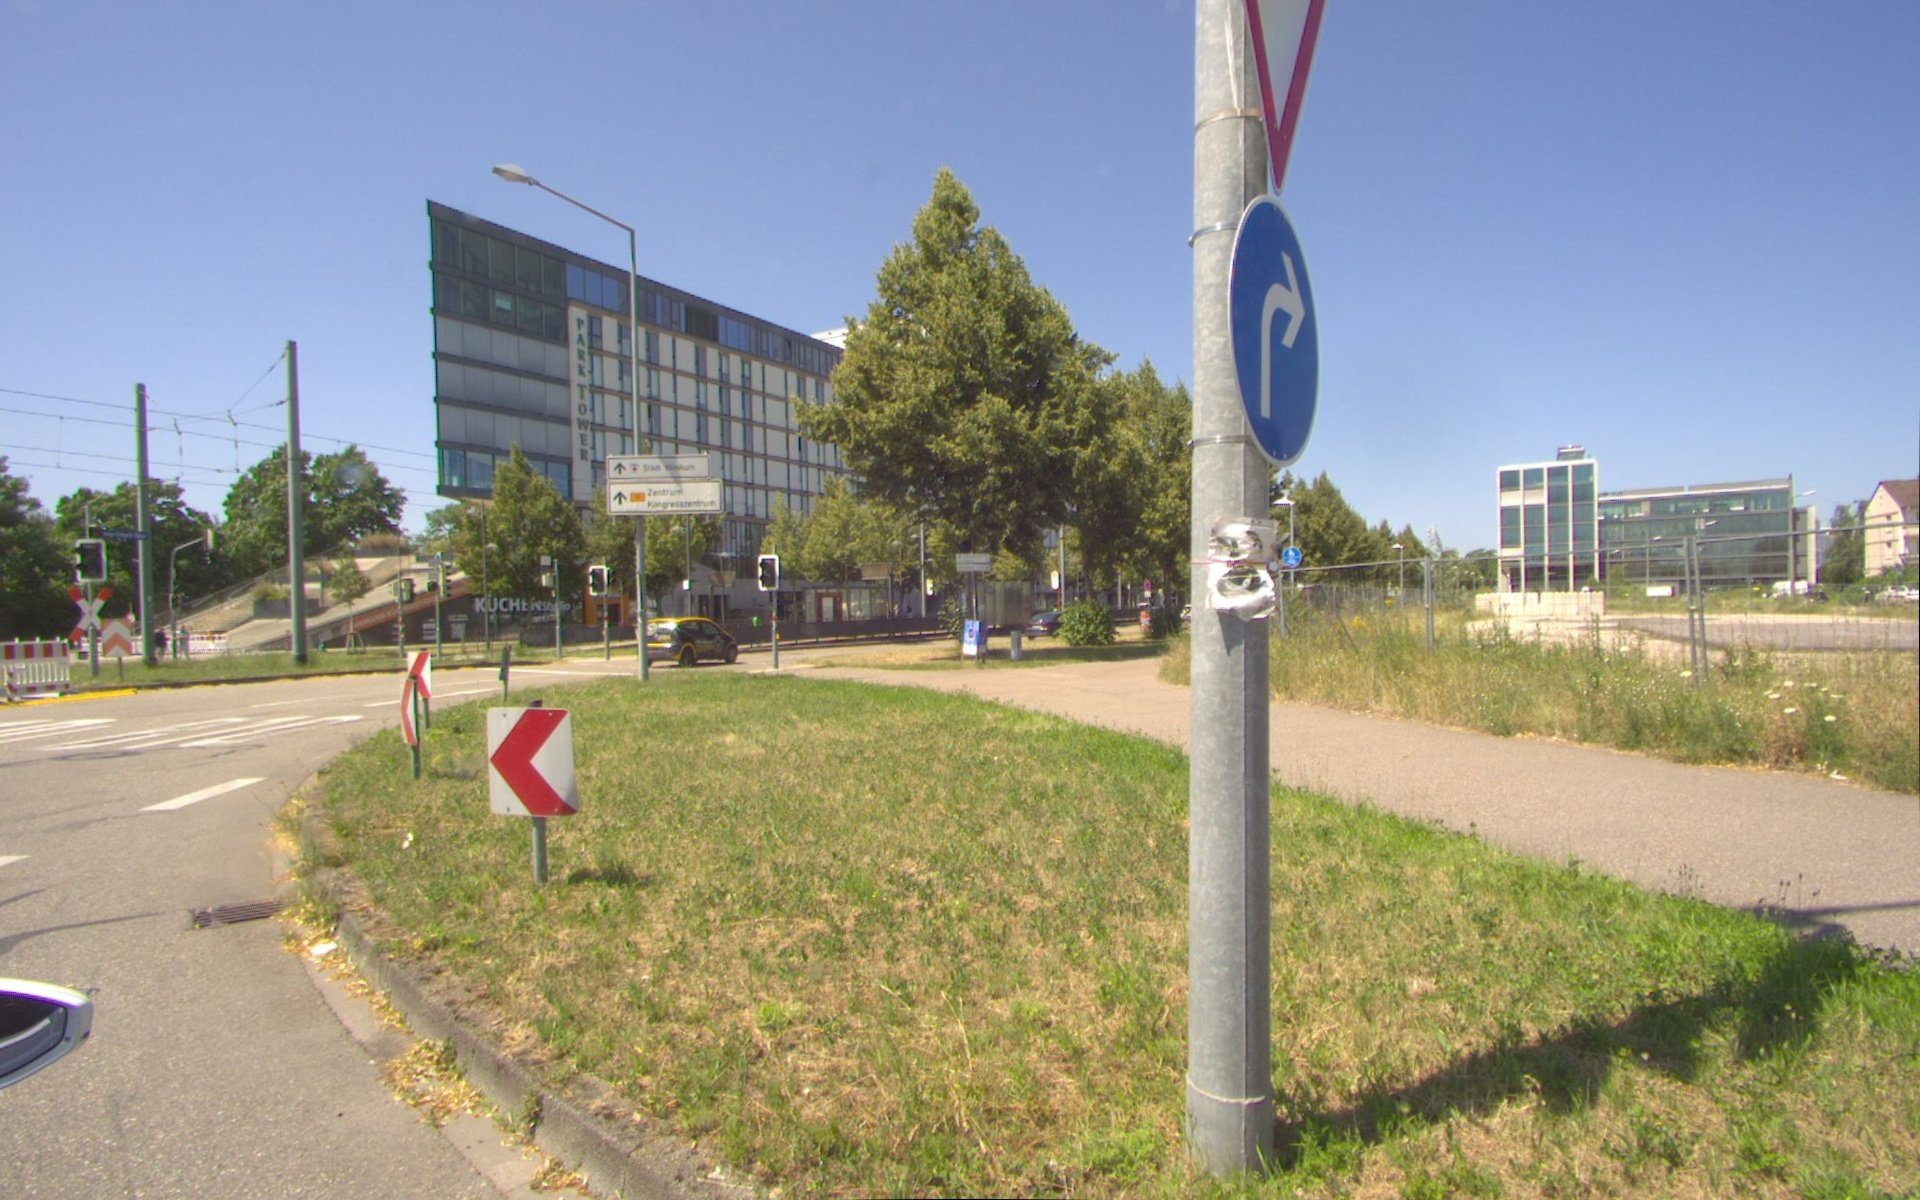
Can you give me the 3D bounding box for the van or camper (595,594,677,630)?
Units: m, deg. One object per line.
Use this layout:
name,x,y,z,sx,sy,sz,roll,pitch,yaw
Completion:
van or camper,-26.812,0.960,83.203,2.346,2.859,6.761,-1,-1,27

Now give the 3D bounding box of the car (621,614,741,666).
car,-8.417,1.186,30.560,1.595,1.470,3.981,-1,-1,18

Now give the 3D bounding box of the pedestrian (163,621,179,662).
pedestrian,-34.118,1.806,43.277,0.287,1.762,0.447,-1,0,29

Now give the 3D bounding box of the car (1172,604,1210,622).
car,19.456,1.105,84.192,1.829,1.467,4.331,-1,-2,31

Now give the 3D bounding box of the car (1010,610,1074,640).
car,4.350,1.290,52.396,1.967,1.467,4.637,-1,-1,24

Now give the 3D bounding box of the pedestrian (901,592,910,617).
pedestrian,-3.858,0.336,70.847,0.404,1.775,0.584,-1,0,27

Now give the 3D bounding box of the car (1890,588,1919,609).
car,76.285,-0.117,80.210,1.654,1.606,3.609,-2,-2,27

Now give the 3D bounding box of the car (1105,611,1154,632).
car,12.344,1.572,72.748,1.971,1.467,4.737,-1,-2,30

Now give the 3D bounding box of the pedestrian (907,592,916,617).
pedestrian,-3.459,0.336,71.376,0.404,1.775,0.584,-1,0,27

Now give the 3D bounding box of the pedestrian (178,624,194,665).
pedestrian,-33.803,1.937,43.752,0.313,1.762,0.447,-1,0,29
